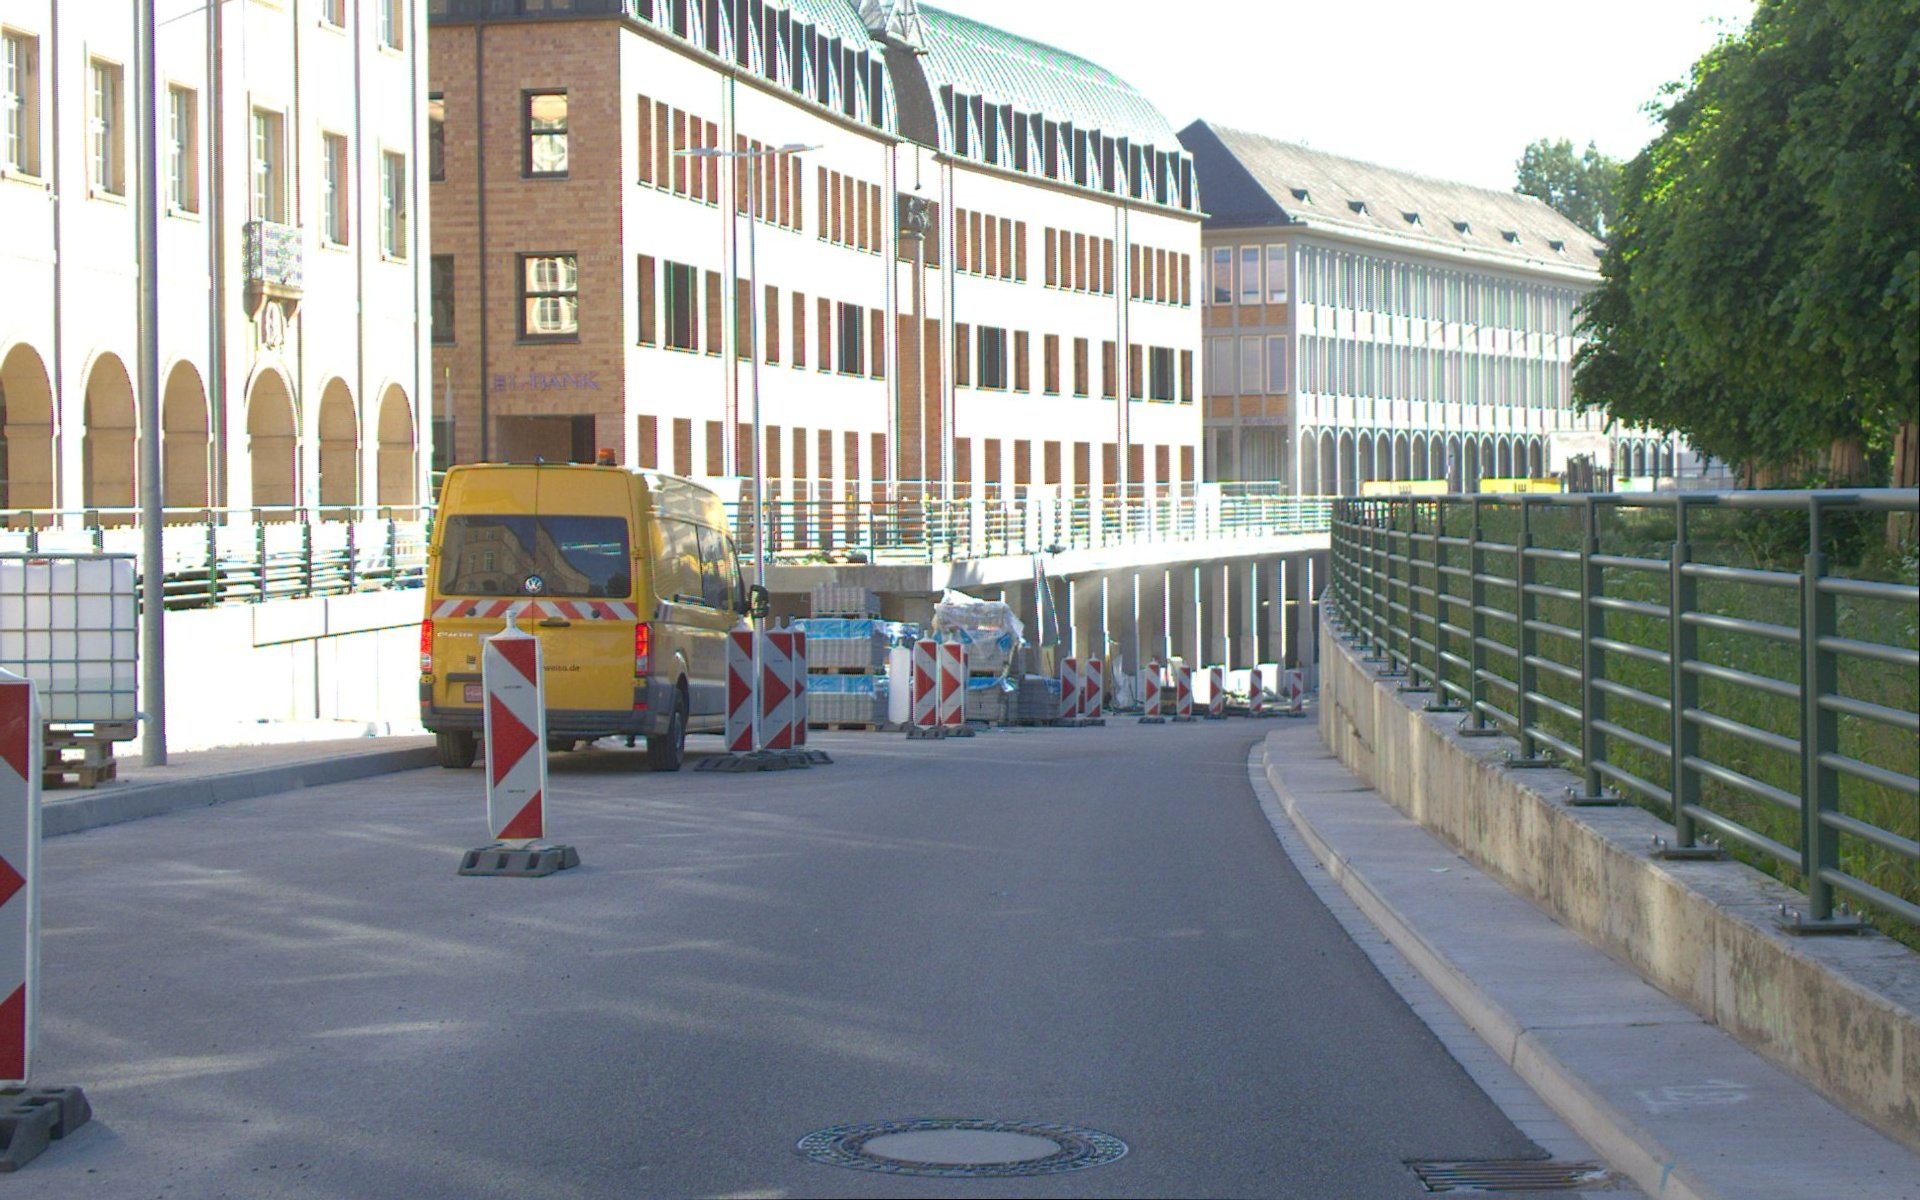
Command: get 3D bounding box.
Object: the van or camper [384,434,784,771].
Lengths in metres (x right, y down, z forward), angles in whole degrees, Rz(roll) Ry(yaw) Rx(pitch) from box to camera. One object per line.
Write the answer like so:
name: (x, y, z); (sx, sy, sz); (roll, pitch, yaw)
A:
van or camper: (-3.166, 0.058, 30.697); (2.194, 2.604, 6.823); (2, -1, 5)
